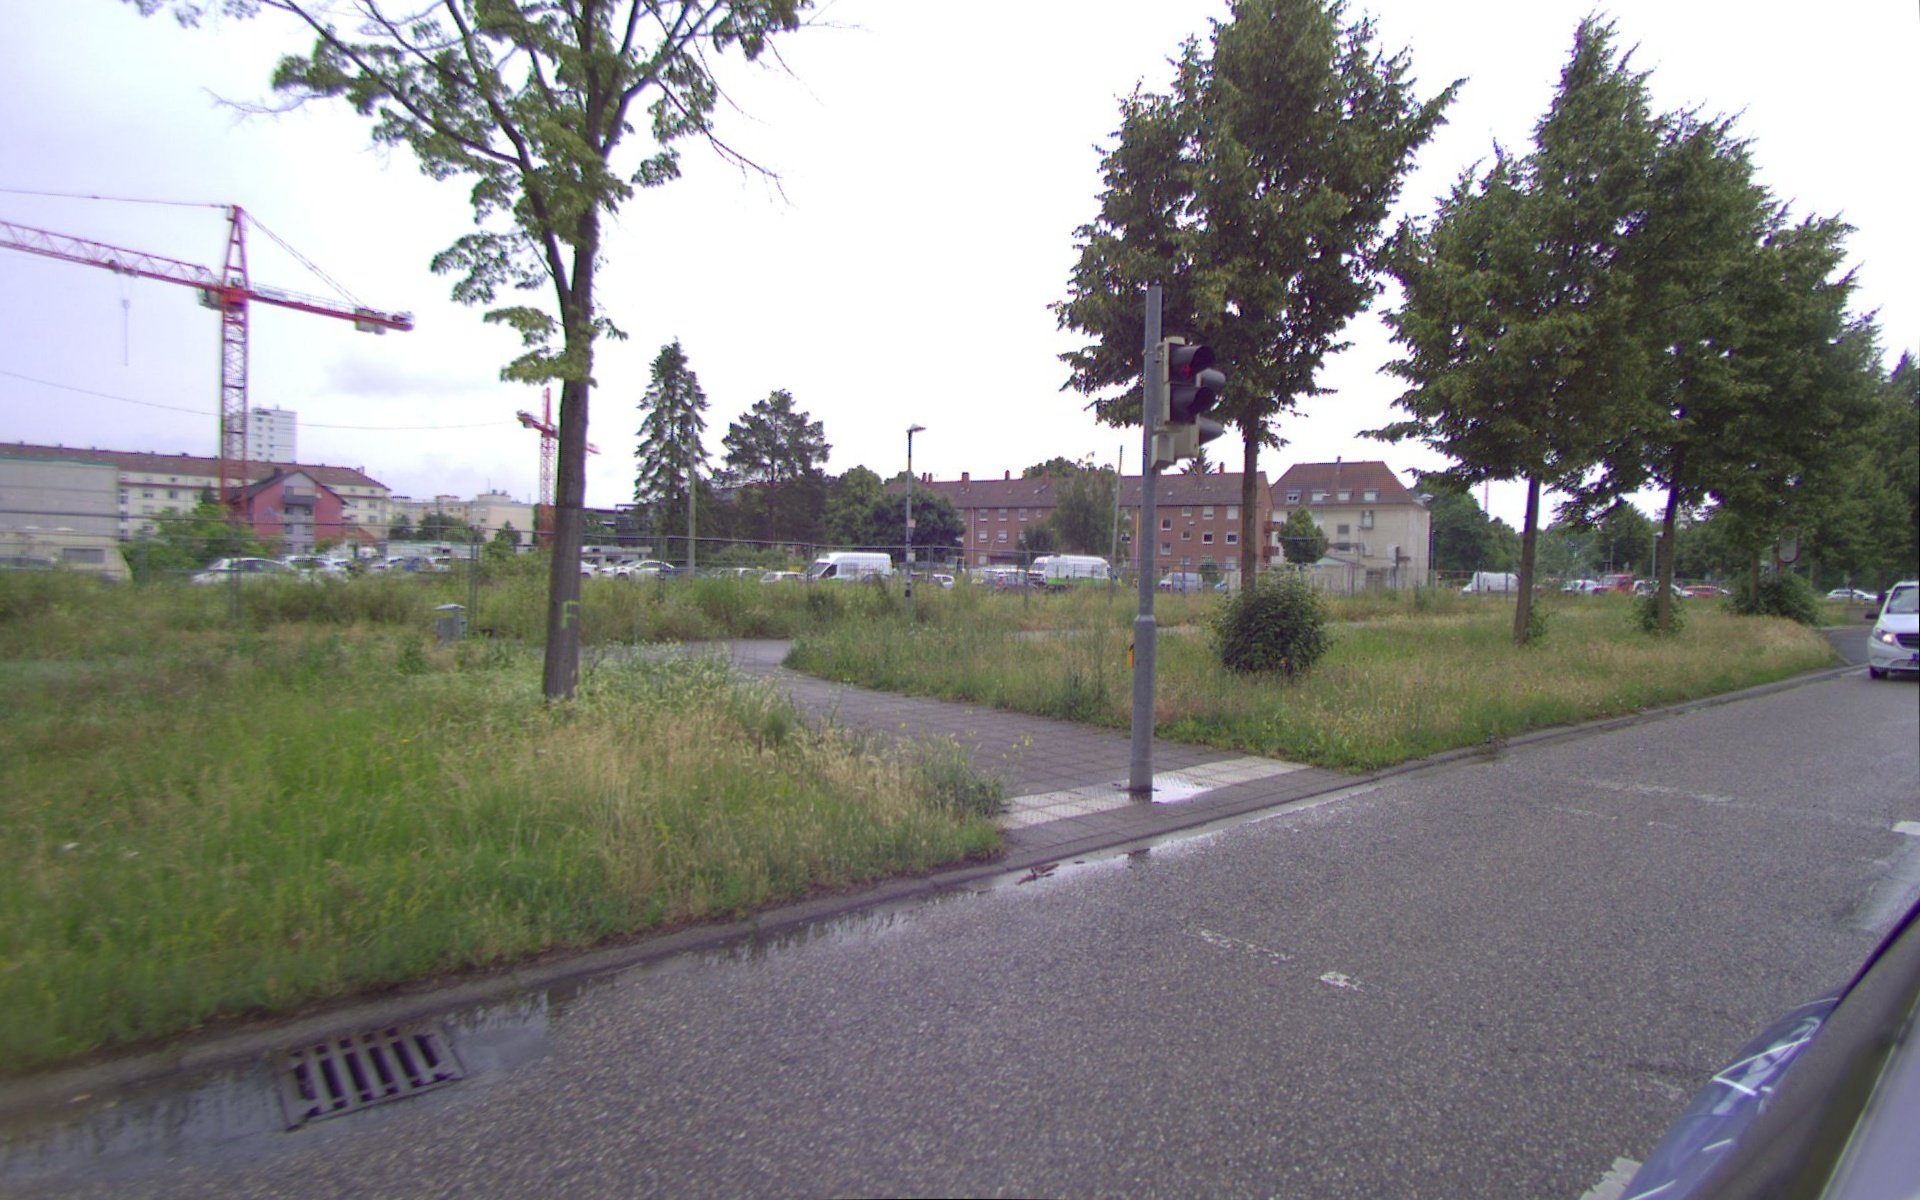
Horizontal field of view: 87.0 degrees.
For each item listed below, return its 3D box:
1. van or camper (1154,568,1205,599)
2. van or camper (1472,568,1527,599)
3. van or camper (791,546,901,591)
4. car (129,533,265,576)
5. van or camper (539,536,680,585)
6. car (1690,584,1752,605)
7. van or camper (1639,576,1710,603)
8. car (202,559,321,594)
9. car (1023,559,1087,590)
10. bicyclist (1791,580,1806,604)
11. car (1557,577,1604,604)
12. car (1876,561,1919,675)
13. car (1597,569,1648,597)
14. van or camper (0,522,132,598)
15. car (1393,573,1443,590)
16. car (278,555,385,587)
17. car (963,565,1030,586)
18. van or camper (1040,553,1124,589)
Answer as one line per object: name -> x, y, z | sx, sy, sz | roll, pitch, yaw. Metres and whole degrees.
van or camper -> 18.968, -1.384, 87.267 | 1.913, 2.567, 5.180 | 1, 1, 43
van or camper -> 54.099, -1.646, 101.439 | 5.399, 3.073, 2.349 | 0, 0, -29
van or camper -> -6.971, -1.902, 62.287 | 6.310, 2.567, 2.780 | 0, 1, -43
car -> -37.394, -2.199, 49.682 | 5.120, 1.918, 2.164 | -1, 2, -44
van or camper -> -18.161, -1.996, 52.679 | 6.535, 2.336, 2.505 | 0, 0, -43
car -> 61.363, -0.444, 81.659 | 1.651, 1.727, 3.800 | 0, 0, -41
van or camper -> 55.849, -0.817, 79.116 | 4.323, 2.039, 1.831 | 2, 1, 44
car -> -28.994, -0.953, 42.076 | 3.960, 1.369, 1.700 | 0, 2, -39
car -> 7.102, -1.897, 75.545 | 4.681, 2.247, 2.274 | 0, 1, -44
bicyclist -> 53.149, -0.525, 64.118 | 0.825, 1.524, 0.537 | 0, 1, -37
car -> 55.686, -0.852, 90.793 | 3.921, 2.339, 2.002 | 0, 1, -32
car -> 19.053, 0.297, 19.111 | 5.002, 2.004, 1.971 | -1, 2, -41
car -> 57.446, -1.443, 87.709 | 3.918, 2.339, 2.003 | 0, 1, -27
van or camper -> -34.535, -1.470, 37.157 | 6.288, 2.722, 2.311 | 0, 2, -43
car -> 43.865, -1.772, 97.004 | 3.916, 1.571, 2.004 | 0, 0, -13
car -> -28.525, -1.295, 45.972 | 3.960, 1.369, 1.700 | 0, 2, -39
car -> 2.611, -1.735, 71.781 | 4.681, 1.369, 2.092 | 0, 1, -44
van or camper -> 8.294, -1.926, 68.344 | 6.044, 2.336, 2.205 | 0, 1, -43
